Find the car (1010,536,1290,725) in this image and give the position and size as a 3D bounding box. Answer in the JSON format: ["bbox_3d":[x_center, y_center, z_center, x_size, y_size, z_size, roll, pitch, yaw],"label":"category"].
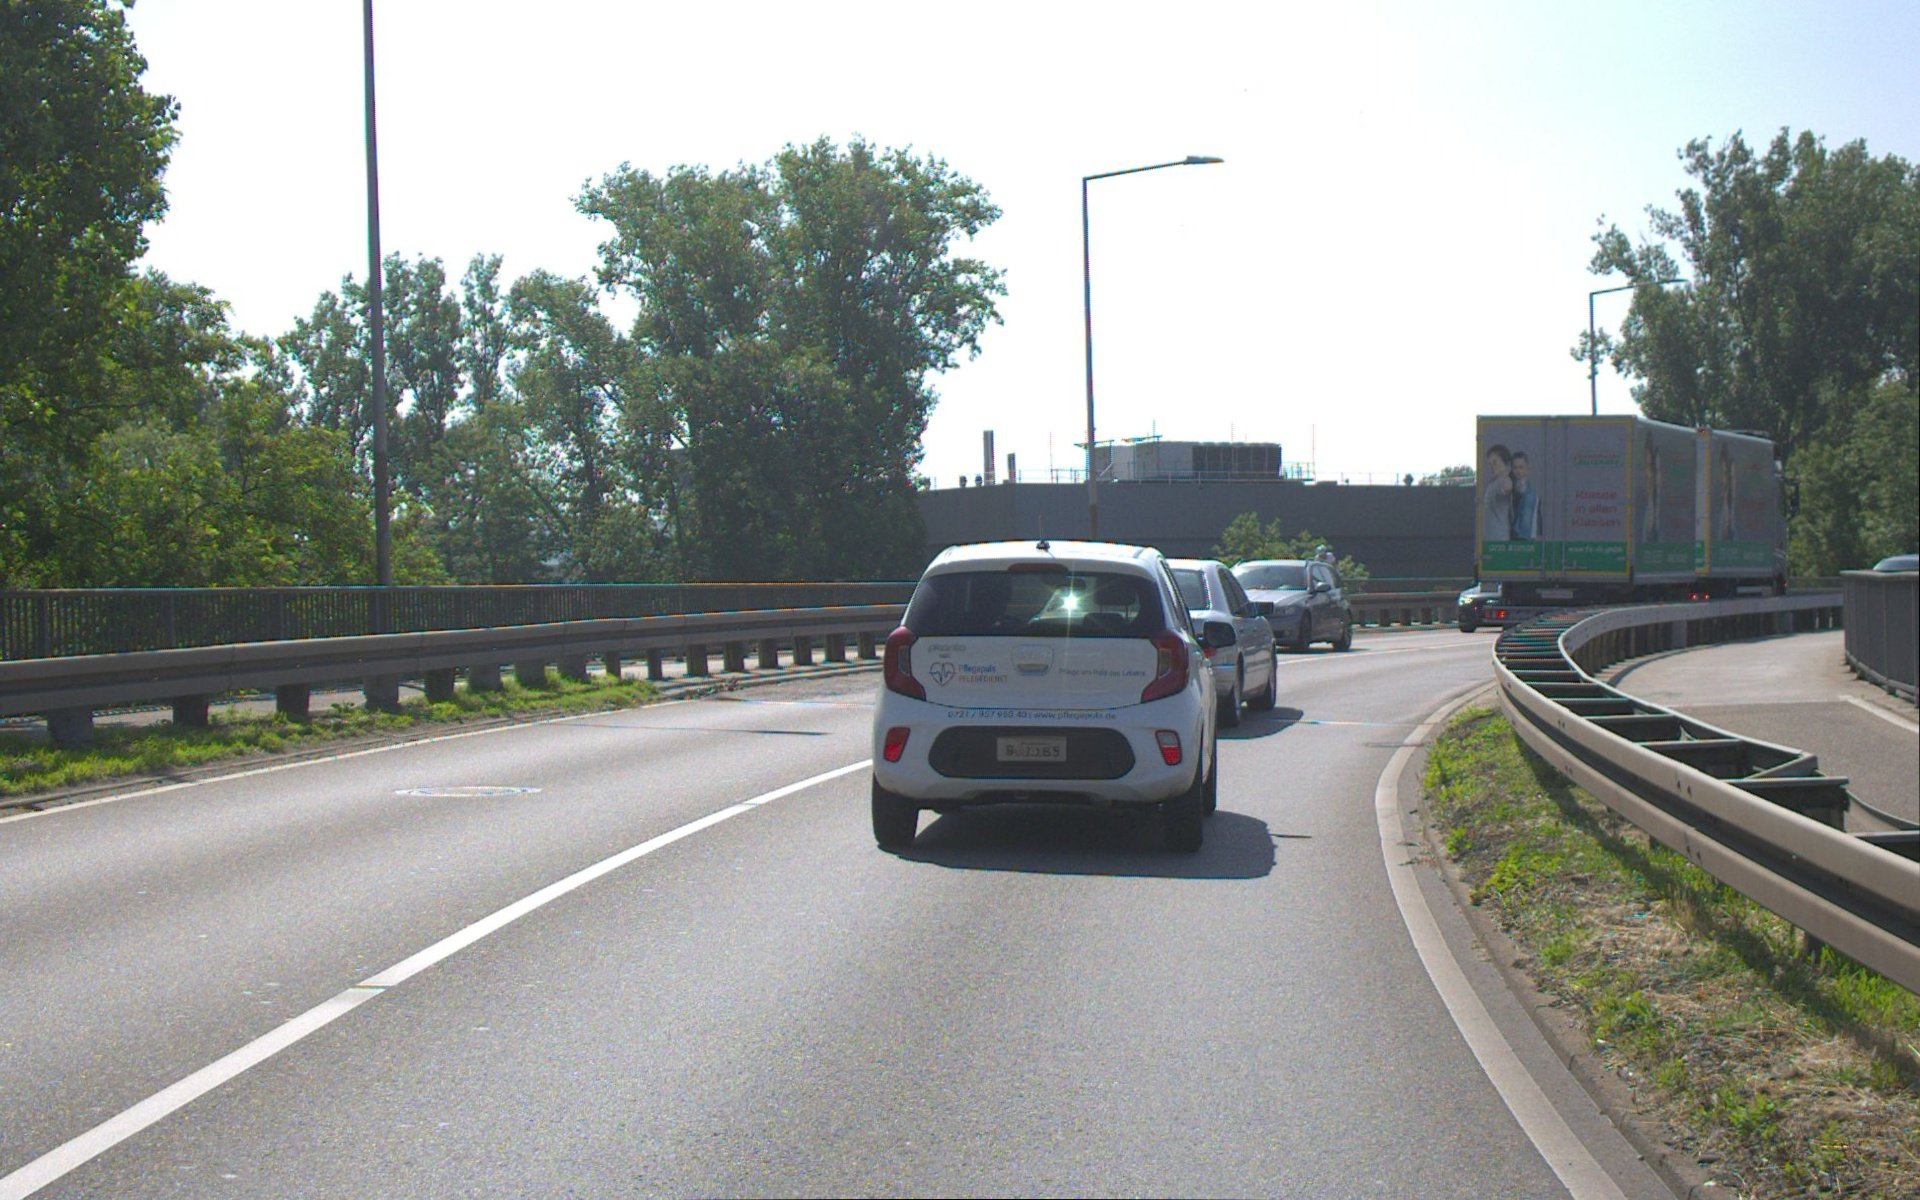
[{"bbox_3d":[1.743,0.195,29.859,1.939,1.481,4.898,1,1,9],"label":"car"}]

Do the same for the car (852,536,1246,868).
[{"bbox_3d":[0.576,0.436,18.085,1.702,1.489,3.999,1,1,6],"label":"car"}]

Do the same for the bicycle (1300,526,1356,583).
[{"bbox_3d":[7.656,-0.935,71.434,0.612,1.131,2.147,-3,-1,20],"label":"bicycle"}]

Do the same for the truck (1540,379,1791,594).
[{"bbox_3d":[13.431,-2.176,64.905,3.264,3.745,8.362,2,3,21],"label":"truck"}]

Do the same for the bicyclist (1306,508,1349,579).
[{"bbox_3d":[7.645,-1.177,71.434,0.608,1.434,1.077,-2,-1,20],"label":"bicyclist"}]

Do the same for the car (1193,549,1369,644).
[{"bbox_3d":[5.004,-0.086,53.148,1.718,1.393,4.178,1,1,20],"label":"car"}]

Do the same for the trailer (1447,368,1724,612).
[{"bbox_3d":[10.580,-1.886,57.513,3.227,3.745,7.817,2,3,20],"label":"trailer"}]
